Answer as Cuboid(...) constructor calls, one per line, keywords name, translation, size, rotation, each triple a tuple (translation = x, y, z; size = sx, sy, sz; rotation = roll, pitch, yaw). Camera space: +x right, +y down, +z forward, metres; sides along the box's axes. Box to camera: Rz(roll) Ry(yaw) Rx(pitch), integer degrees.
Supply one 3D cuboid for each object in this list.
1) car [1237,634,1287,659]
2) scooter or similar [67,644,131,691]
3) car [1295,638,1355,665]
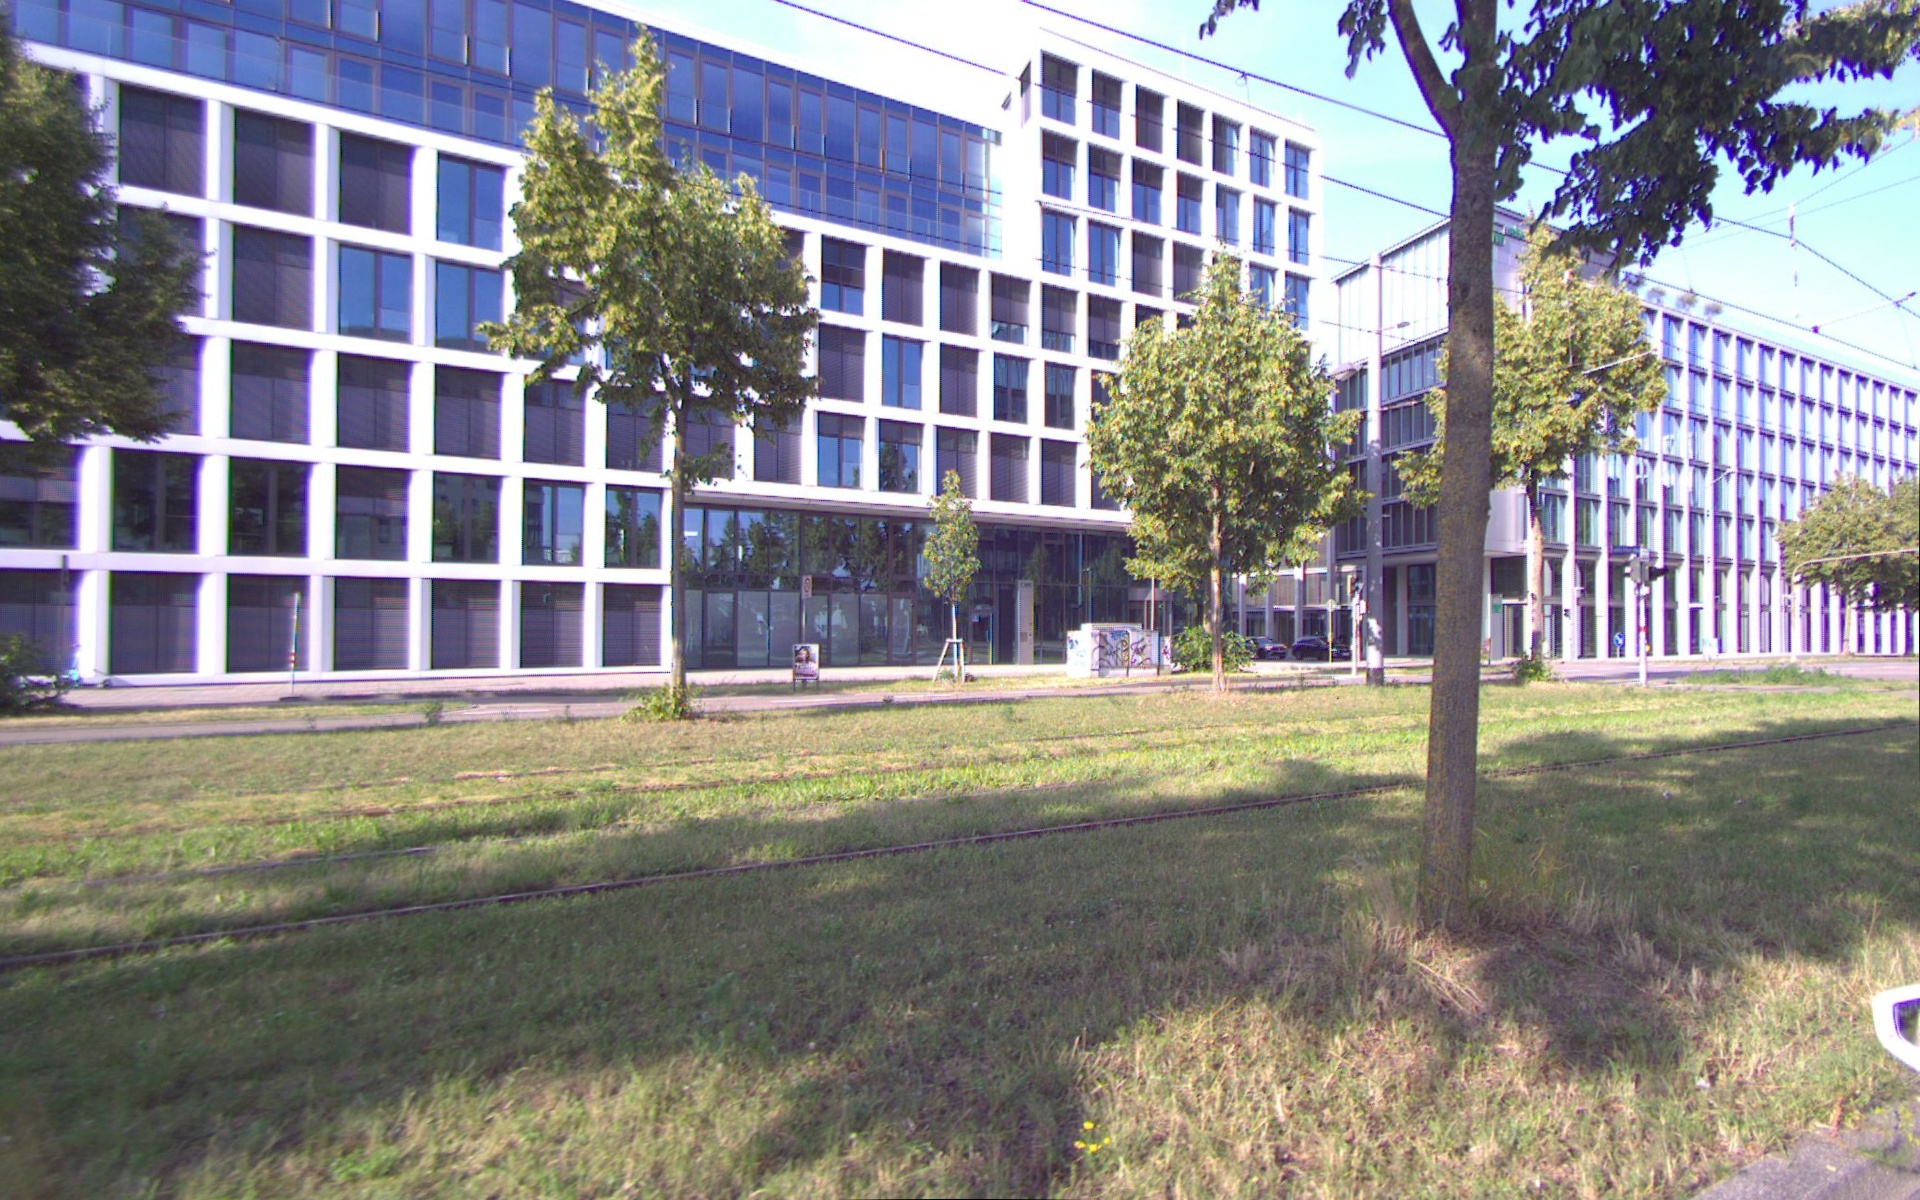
Cuboid(name="car", translation=(20.473, 3.140, 68.317), size=(1.549, 1.443, 3.667), rotation=(2, 0, -15))
Cuboid(name="scooter or similar", translation=(-23.587, 1.843, 27.529), size=(1.278, 1.242, 0.335), rotation=(2, 0, -17))
Cuboid(name="car", translation=(22.357, 3.120, 61.664), size=(1.551, 1.443, 3.497), rotation=(2, 0, -19))
